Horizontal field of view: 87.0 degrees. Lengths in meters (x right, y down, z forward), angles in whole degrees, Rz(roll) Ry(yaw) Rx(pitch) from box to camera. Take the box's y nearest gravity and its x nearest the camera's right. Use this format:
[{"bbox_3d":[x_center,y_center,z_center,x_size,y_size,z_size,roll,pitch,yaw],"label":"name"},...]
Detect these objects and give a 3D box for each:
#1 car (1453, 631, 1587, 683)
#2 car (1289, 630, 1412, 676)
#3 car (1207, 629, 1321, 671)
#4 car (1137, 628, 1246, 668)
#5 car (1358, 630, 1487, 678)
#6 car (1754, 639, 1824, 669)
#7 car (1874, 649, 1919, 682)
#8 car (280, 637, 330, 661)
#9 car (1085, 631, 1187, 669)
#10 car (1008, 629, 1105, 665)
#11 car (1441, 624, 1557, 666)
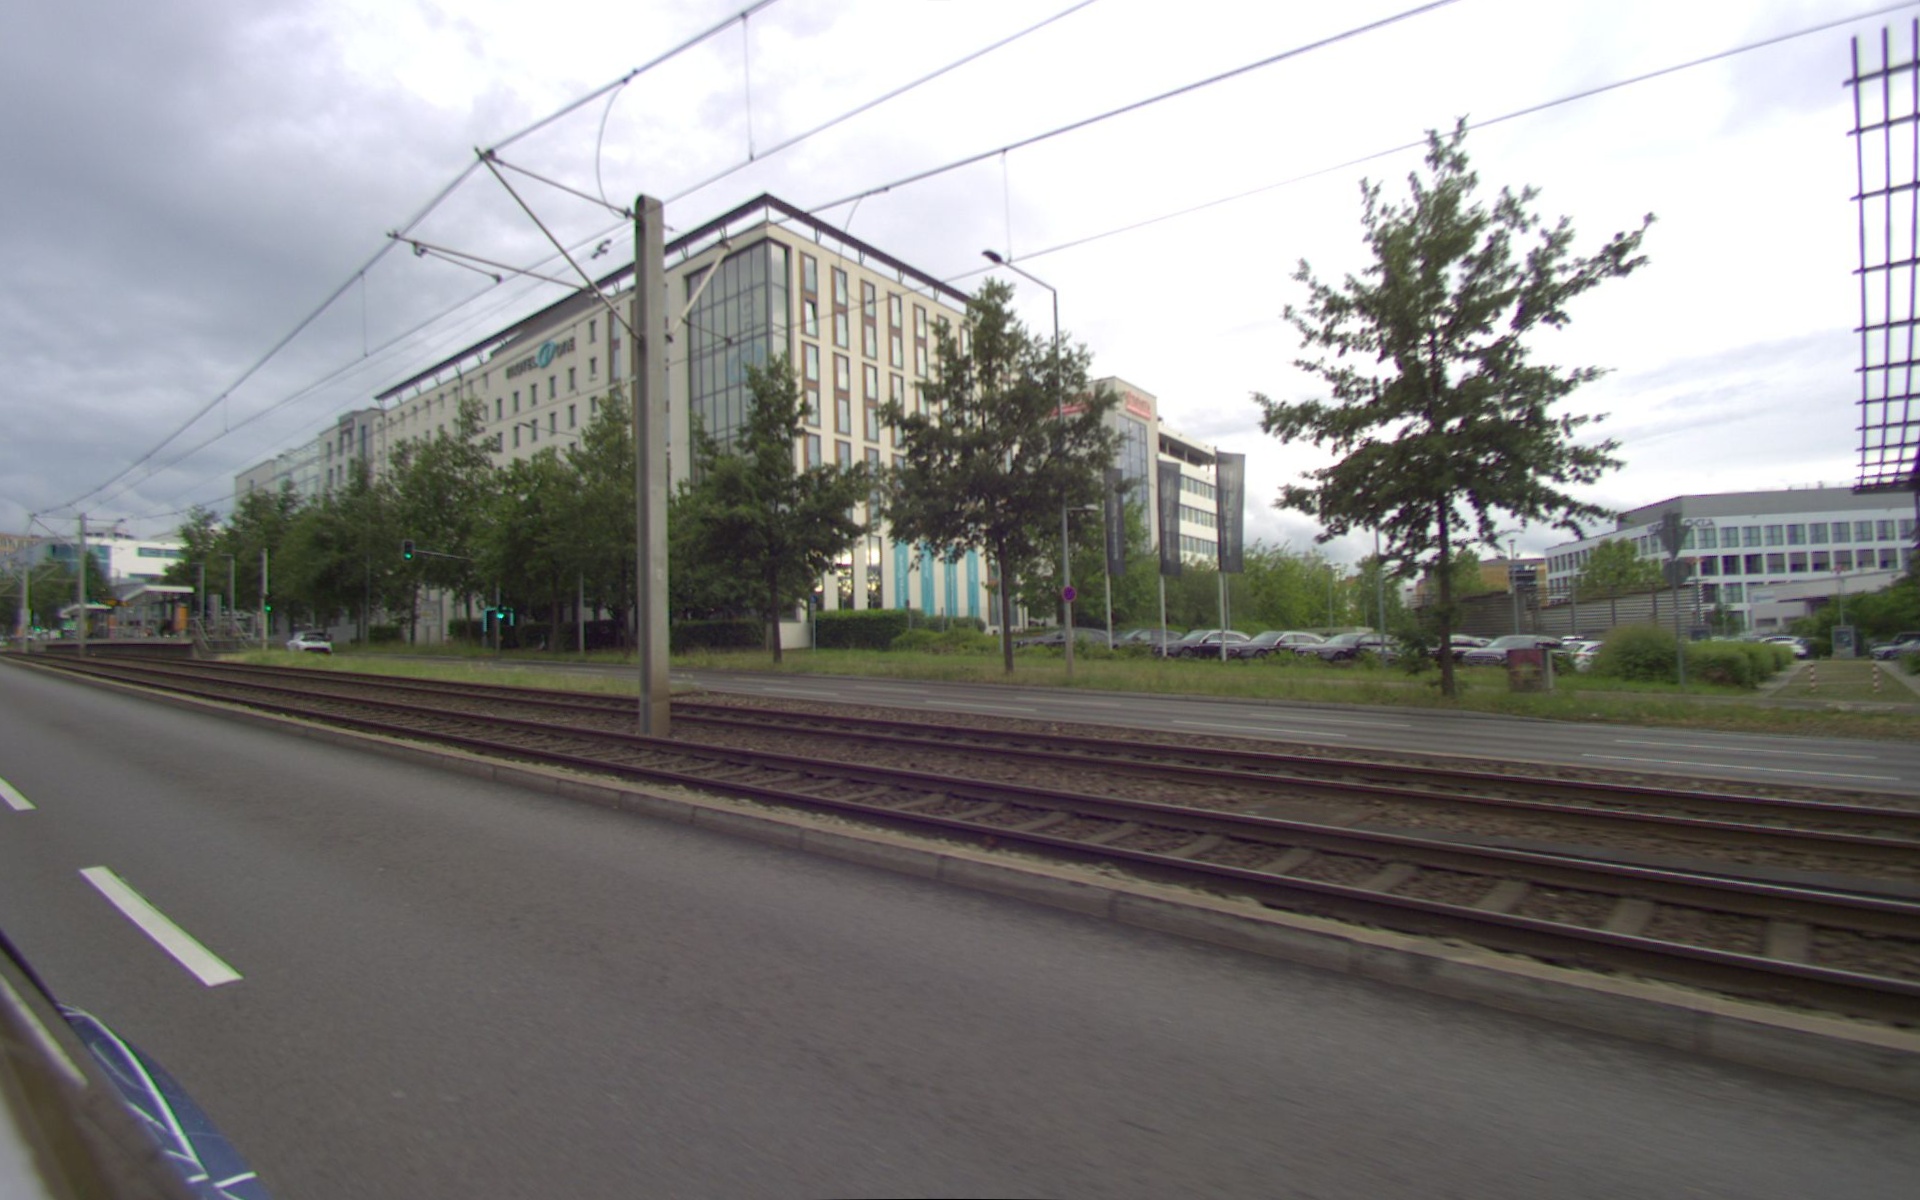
[{"bbox_3d":[18.003,1.789,32.520,3.931,1.401,1.809,-1,0,-26],"label":"car"},{"bbox_3d":[14.042,1.863,36.381,3.931,1.401,1.809,-1,0,-22],"label":"car"},{"bbox_3d":[11.651,1.884,38.794,3.931,1.401,1.770,-1,0,-22],"label":"car"},{"bbox_3d":[9.355,1.919,40.930,3.931,1.401,1.809,-1,0,-22],"label":"car"},{"bbox_3d":[15.837,1.821,34.687,3.931,1.401,1.809,-1,0,-22],"label":"car"},{"bbox_3d":[62.314,4.057,76.107,4.000,2.029,1.972,-1,0,43],"label":"car"},{"bbox_3d":[63.714,4.396,67.502,4.000,2.029,1.972,-1,0,43],"label":"car"},{"bbox_3d":[-39.988,2.964,61.779,3.818,1.375,1.678,-2,-5,44],"label":"car"},{"bbox_3d":[7.517,2.108,43.227,3.931,1.401,1.809,-1,0,-22],"label":"car"},{"bbox_3d":[4.295,2.063,45.207,3.934,1.401,1.808,-1,0,-12],"label":"car"},{"bbox_3d":[20.597,1.684,38.692,3.931,1.401,1.809,-1,0,-22],"label":"car"}]
